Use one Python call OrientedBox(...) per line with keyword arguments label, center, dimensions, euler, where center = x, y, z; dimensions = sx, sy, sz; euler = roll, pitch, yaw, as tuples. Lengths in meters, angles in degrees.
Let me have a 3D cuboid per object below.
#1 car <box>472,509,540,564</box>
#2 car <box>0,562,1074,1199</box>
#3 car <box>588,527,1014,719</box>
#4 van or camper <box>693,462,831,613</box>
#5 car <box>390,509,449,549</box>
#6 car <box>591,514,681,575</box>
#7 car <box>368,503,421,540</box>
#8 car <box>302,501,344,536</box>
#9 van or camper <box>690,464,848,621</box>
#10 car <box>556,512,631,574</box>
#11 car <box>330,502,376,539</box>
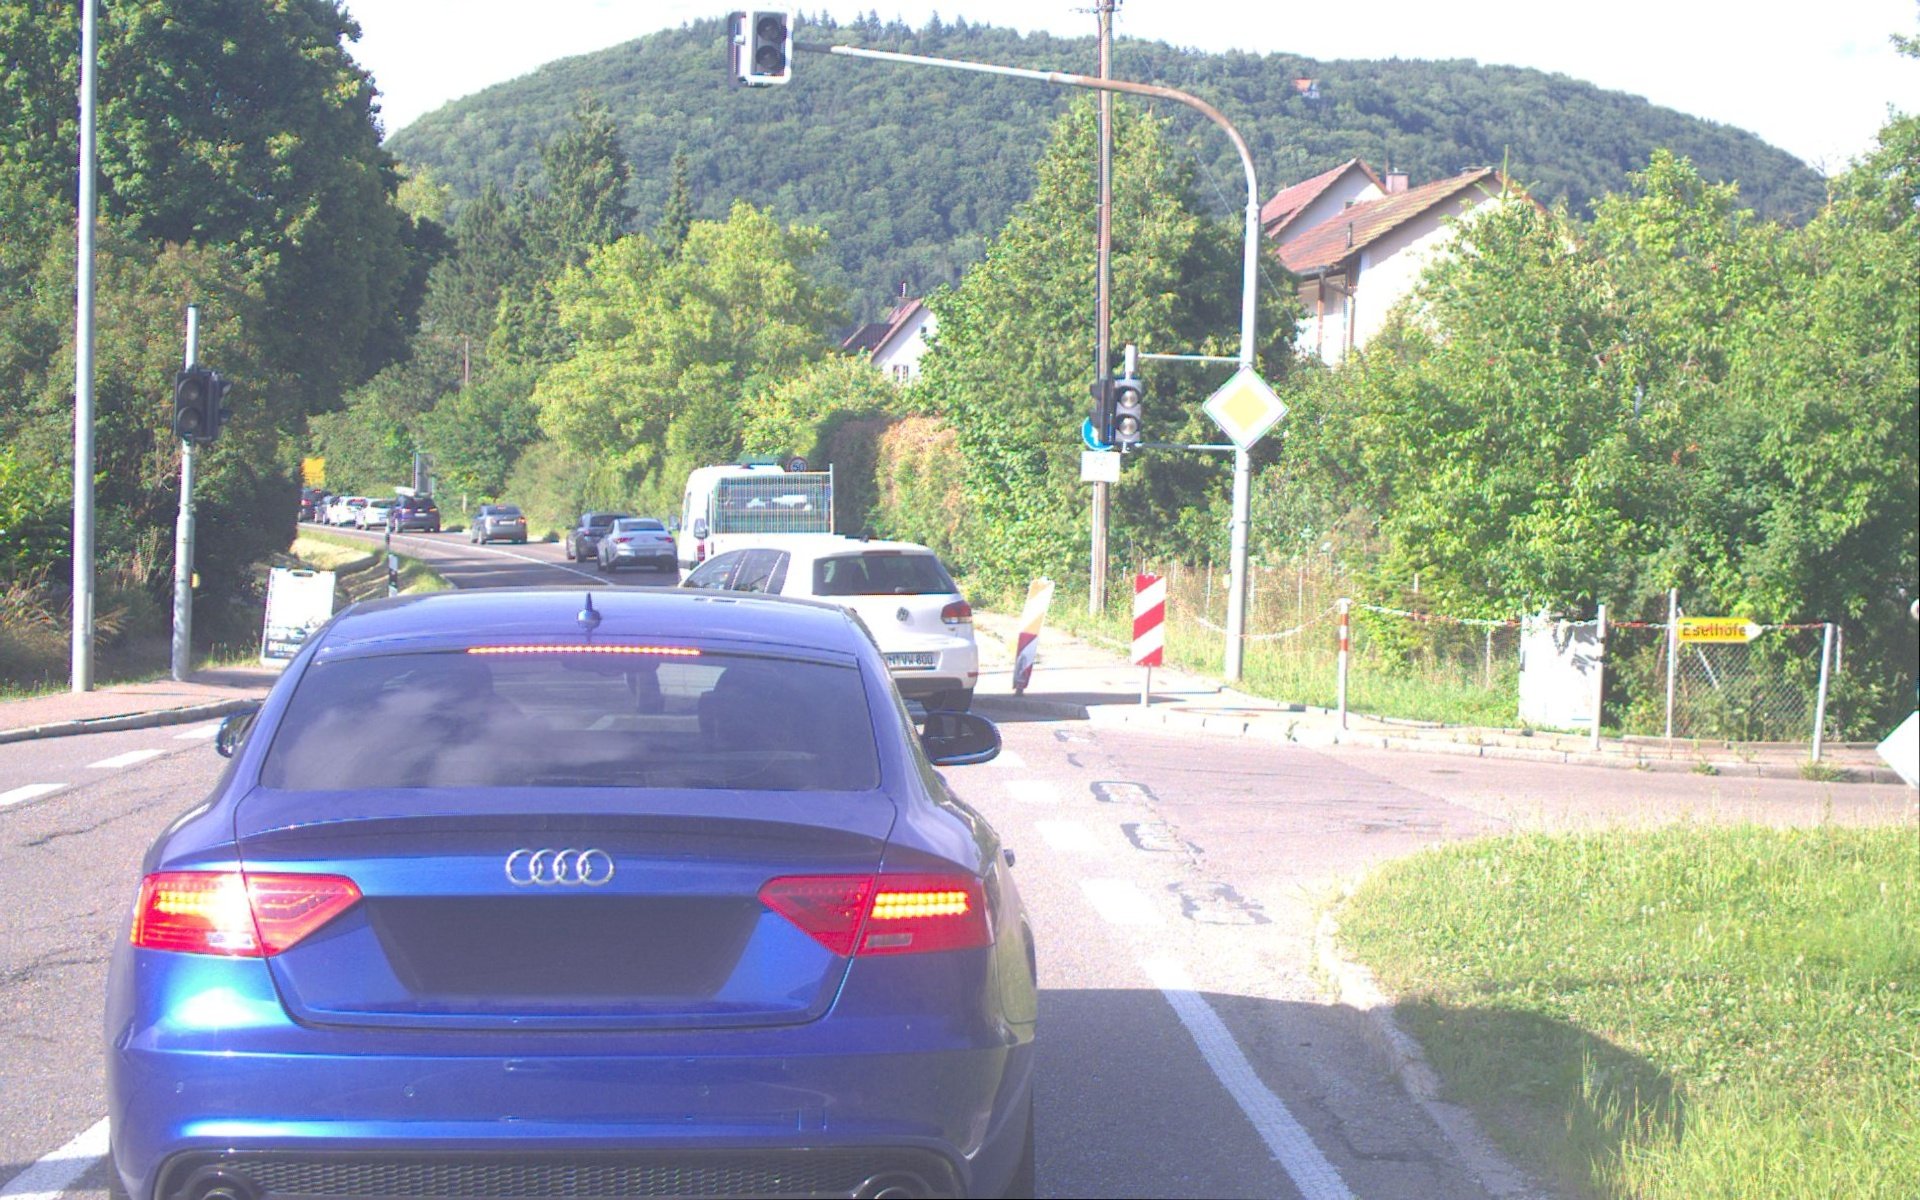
OrientedBox(label="car", center=(-16.752, -2.353, 126.710), dimensions=(1.993, 2.007, 4.001), euler=(-1, 1, -15))
OrientedBox(label="car", center=(-0.810, 0.650, 7.967), dimensions=(1.829, 1.404, 4.227), euler=(-1, 1, -2))
OrientedBox(label="car", center=(-1.421, 0.156, 28.977), dimensions=(1.771, 1.410, 4.174), euler=(1, 1, -31))
OrientedBox(label="van or camper", center=(-4.059, -1.298, 69.341), dimensions=(2.414, 2.894, 6.133), euler=(0, 2, -7))
OrientedBox(label="car", center=(-23.509, -3.099, 149.464), dimensions=(2.040, 1.678, 4.002), euler=(0, 2, -16))
OrientedBox(label="car", center=(-8.490, -1.456, 89.806), dimensions=(1.819, 1.546, 4.001), euler=(-1, 1, -13))
OrientedBox(label="car", center=(-25.990, -3.629, 157.996), dimensions=(1.941, 1.678, 4.001), euler=(-1, 1, -16))
OrientedBox(label="car", center=(-33.201, -4.262, 179.143), dimensions=(1.771, 1.776, 4.001), euler=(-1, 2, -16))
OrientedBox(label="van or camper", center=(-3.098, -0.951, 54.749), dimensions=(2.179, 2.377, 5.371), euler=(0, 2, -7))
OrientedBox(label="car", center=(-10.800, -1.684, 101.184), dimensions=(1.796, 1.787, 4.001), euler=(-1, 1, -12))
OrientedBox(label="car", center=(-29.424, -3.841, 166.562), dimensions=(1.748, 1.776, 4.001), euler=(-1, 2, -16))
